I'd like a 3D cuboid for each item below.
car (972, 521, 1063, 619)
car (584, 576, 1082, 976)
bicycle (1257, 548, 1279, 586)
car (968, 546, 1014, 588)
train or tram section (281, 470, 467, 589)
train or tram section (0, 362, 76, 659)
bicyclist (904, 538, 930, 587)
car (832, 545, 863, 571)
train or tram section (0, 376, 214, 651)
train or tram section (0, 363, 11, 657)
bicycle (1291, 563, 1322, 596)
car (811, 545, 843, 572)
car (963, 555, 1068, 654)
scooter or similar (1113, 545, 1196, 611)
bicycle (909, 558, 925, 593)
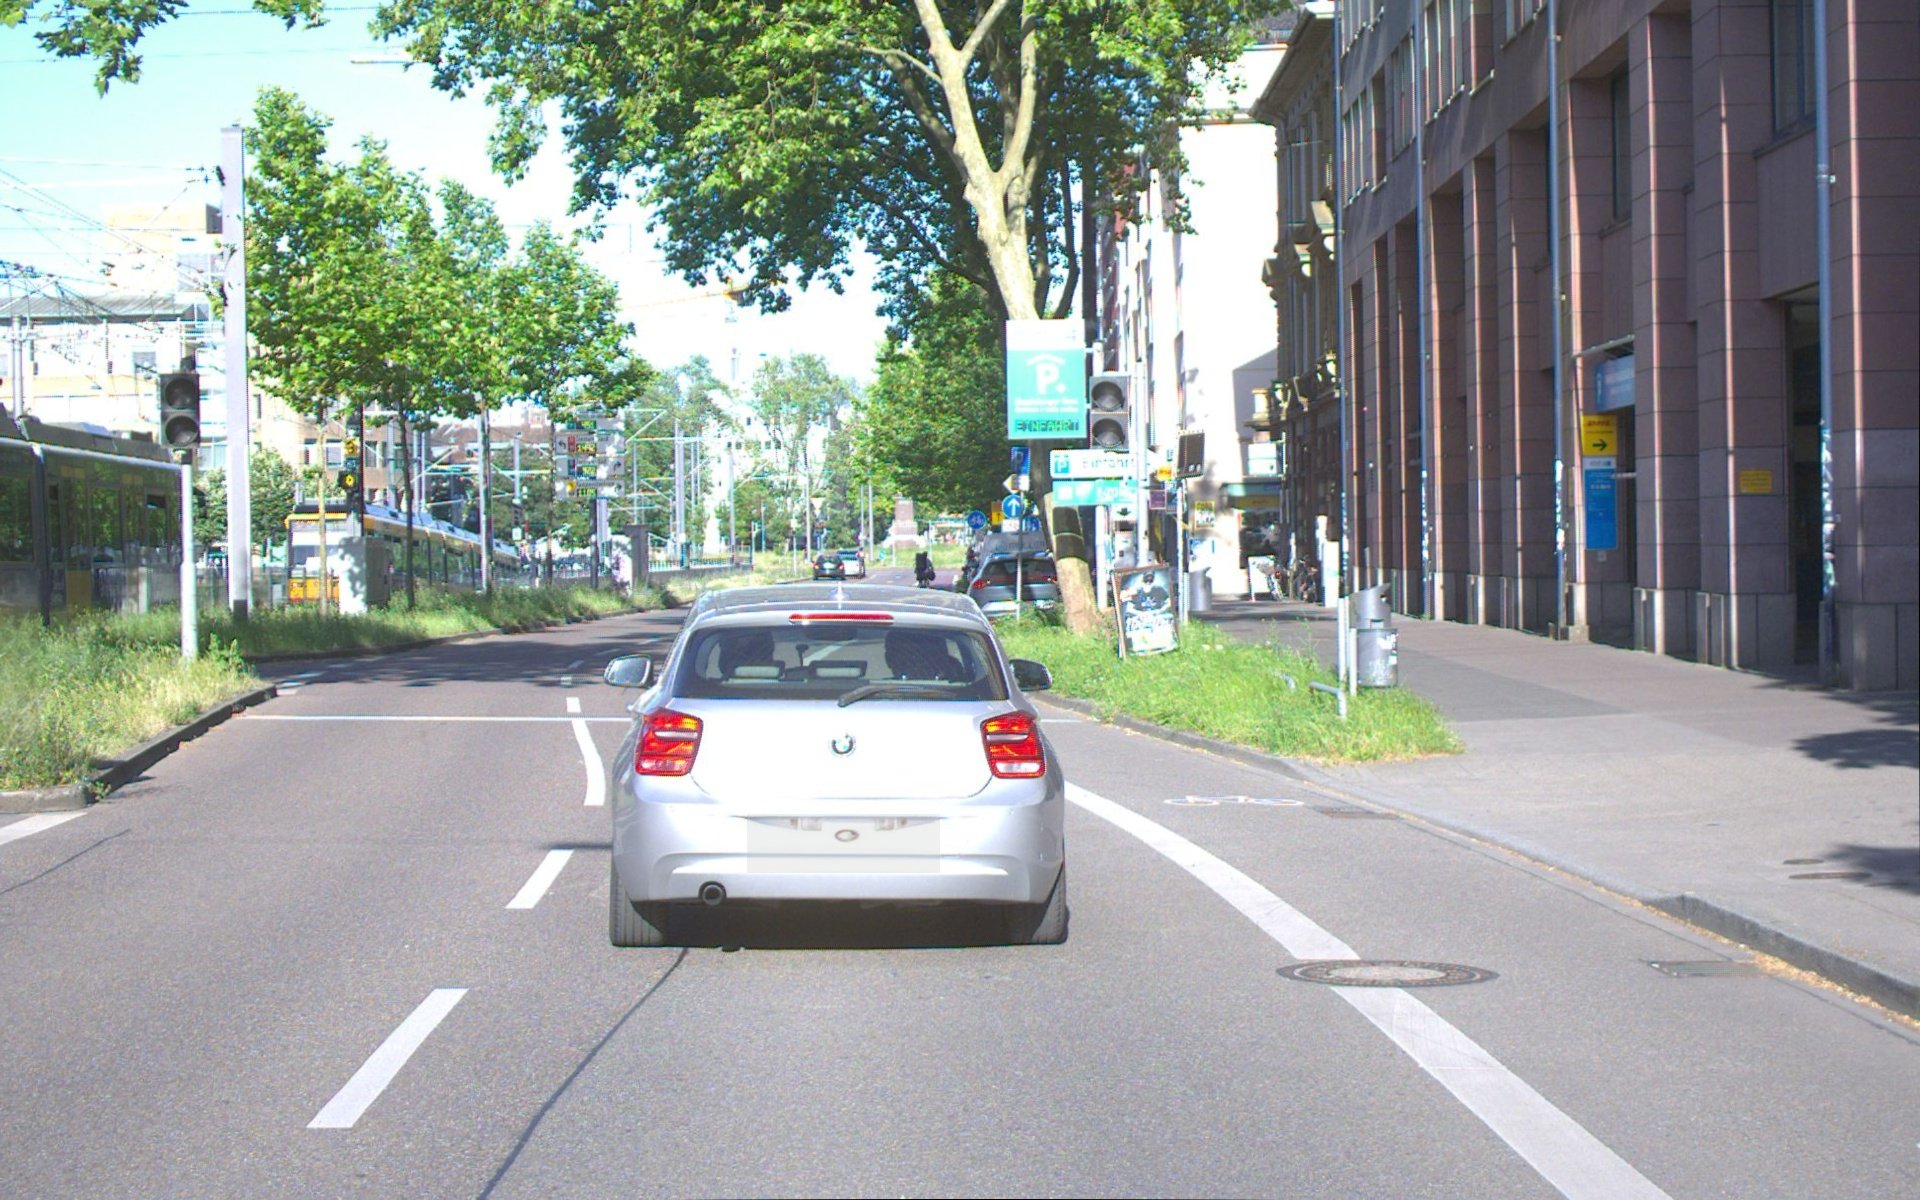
[{"bbox_3d":[1.215,-0.660,74.284,1.856,2.007,4.724,1,1,0],"label":"car"},{"bbox_3d":[-0.497,0.631,14.590,1.798,1.410,4.000,1,1,-1],"label":"car"},{"bbox_3d":[8.096,-0.871,90.352,0.414,0.994,1.882,0,1,0],"label":"bicycle"},{"bbox_3d":[1.187,-1.296,133.072,1.694,1.497,3.801,-3,1,0],"label":"car"},{"bbox_3d":[-18.754,-2.273,111.662,2.963,3.472,21.220,1,1,-2],"label":"train or tram section"},{"bbox_3d":[-13.993,-1.223,46.836,2.954,3.883,3.866,1,1,-2],"label":"train or tram section"},{"bbox_3d":[-1.351,-1.175,108.865,0.785,1.526,0.895,1,1,0],"label":"bicyclist"},{"bbox_3d":[-6.432,-2.402,196.996,1.644,1.416,4.000,1,1,0],"label":"car"},{"bbox_3d":[-14.244,-1.320,54.185,2.952,3.883,10.804,1,1,-2],"label":"train or tram section"},{"bbox_3d":[-13.632,-1.098,37.770,2.928,3.799,14.275,1,1,-2],"label":"train or tram section"},{"bbox_3d":[8.360,-0.504,82.915,0.549,0.771,1.663,-2,1,0],"label":"bicycle"},{"bbox_3d":[-7.314,-2.285,188.932,1.726,1.465,4.411,0,1,-2],"label":"car"},{"bbox_3d":[0.956,0.040,57.670,1.668,1.565,4.280,1,1,1],"label":"car"},{"bbox_3d":[3.746,-0.426,66.259,1.540,1.233,0.449,1,1,1],"label":"scooter or similar"},{"bbox_3d":[-1.357,-0.794,108.734,0.499,1.085,1.997,1,1,0],"label":"bicycle"}]
